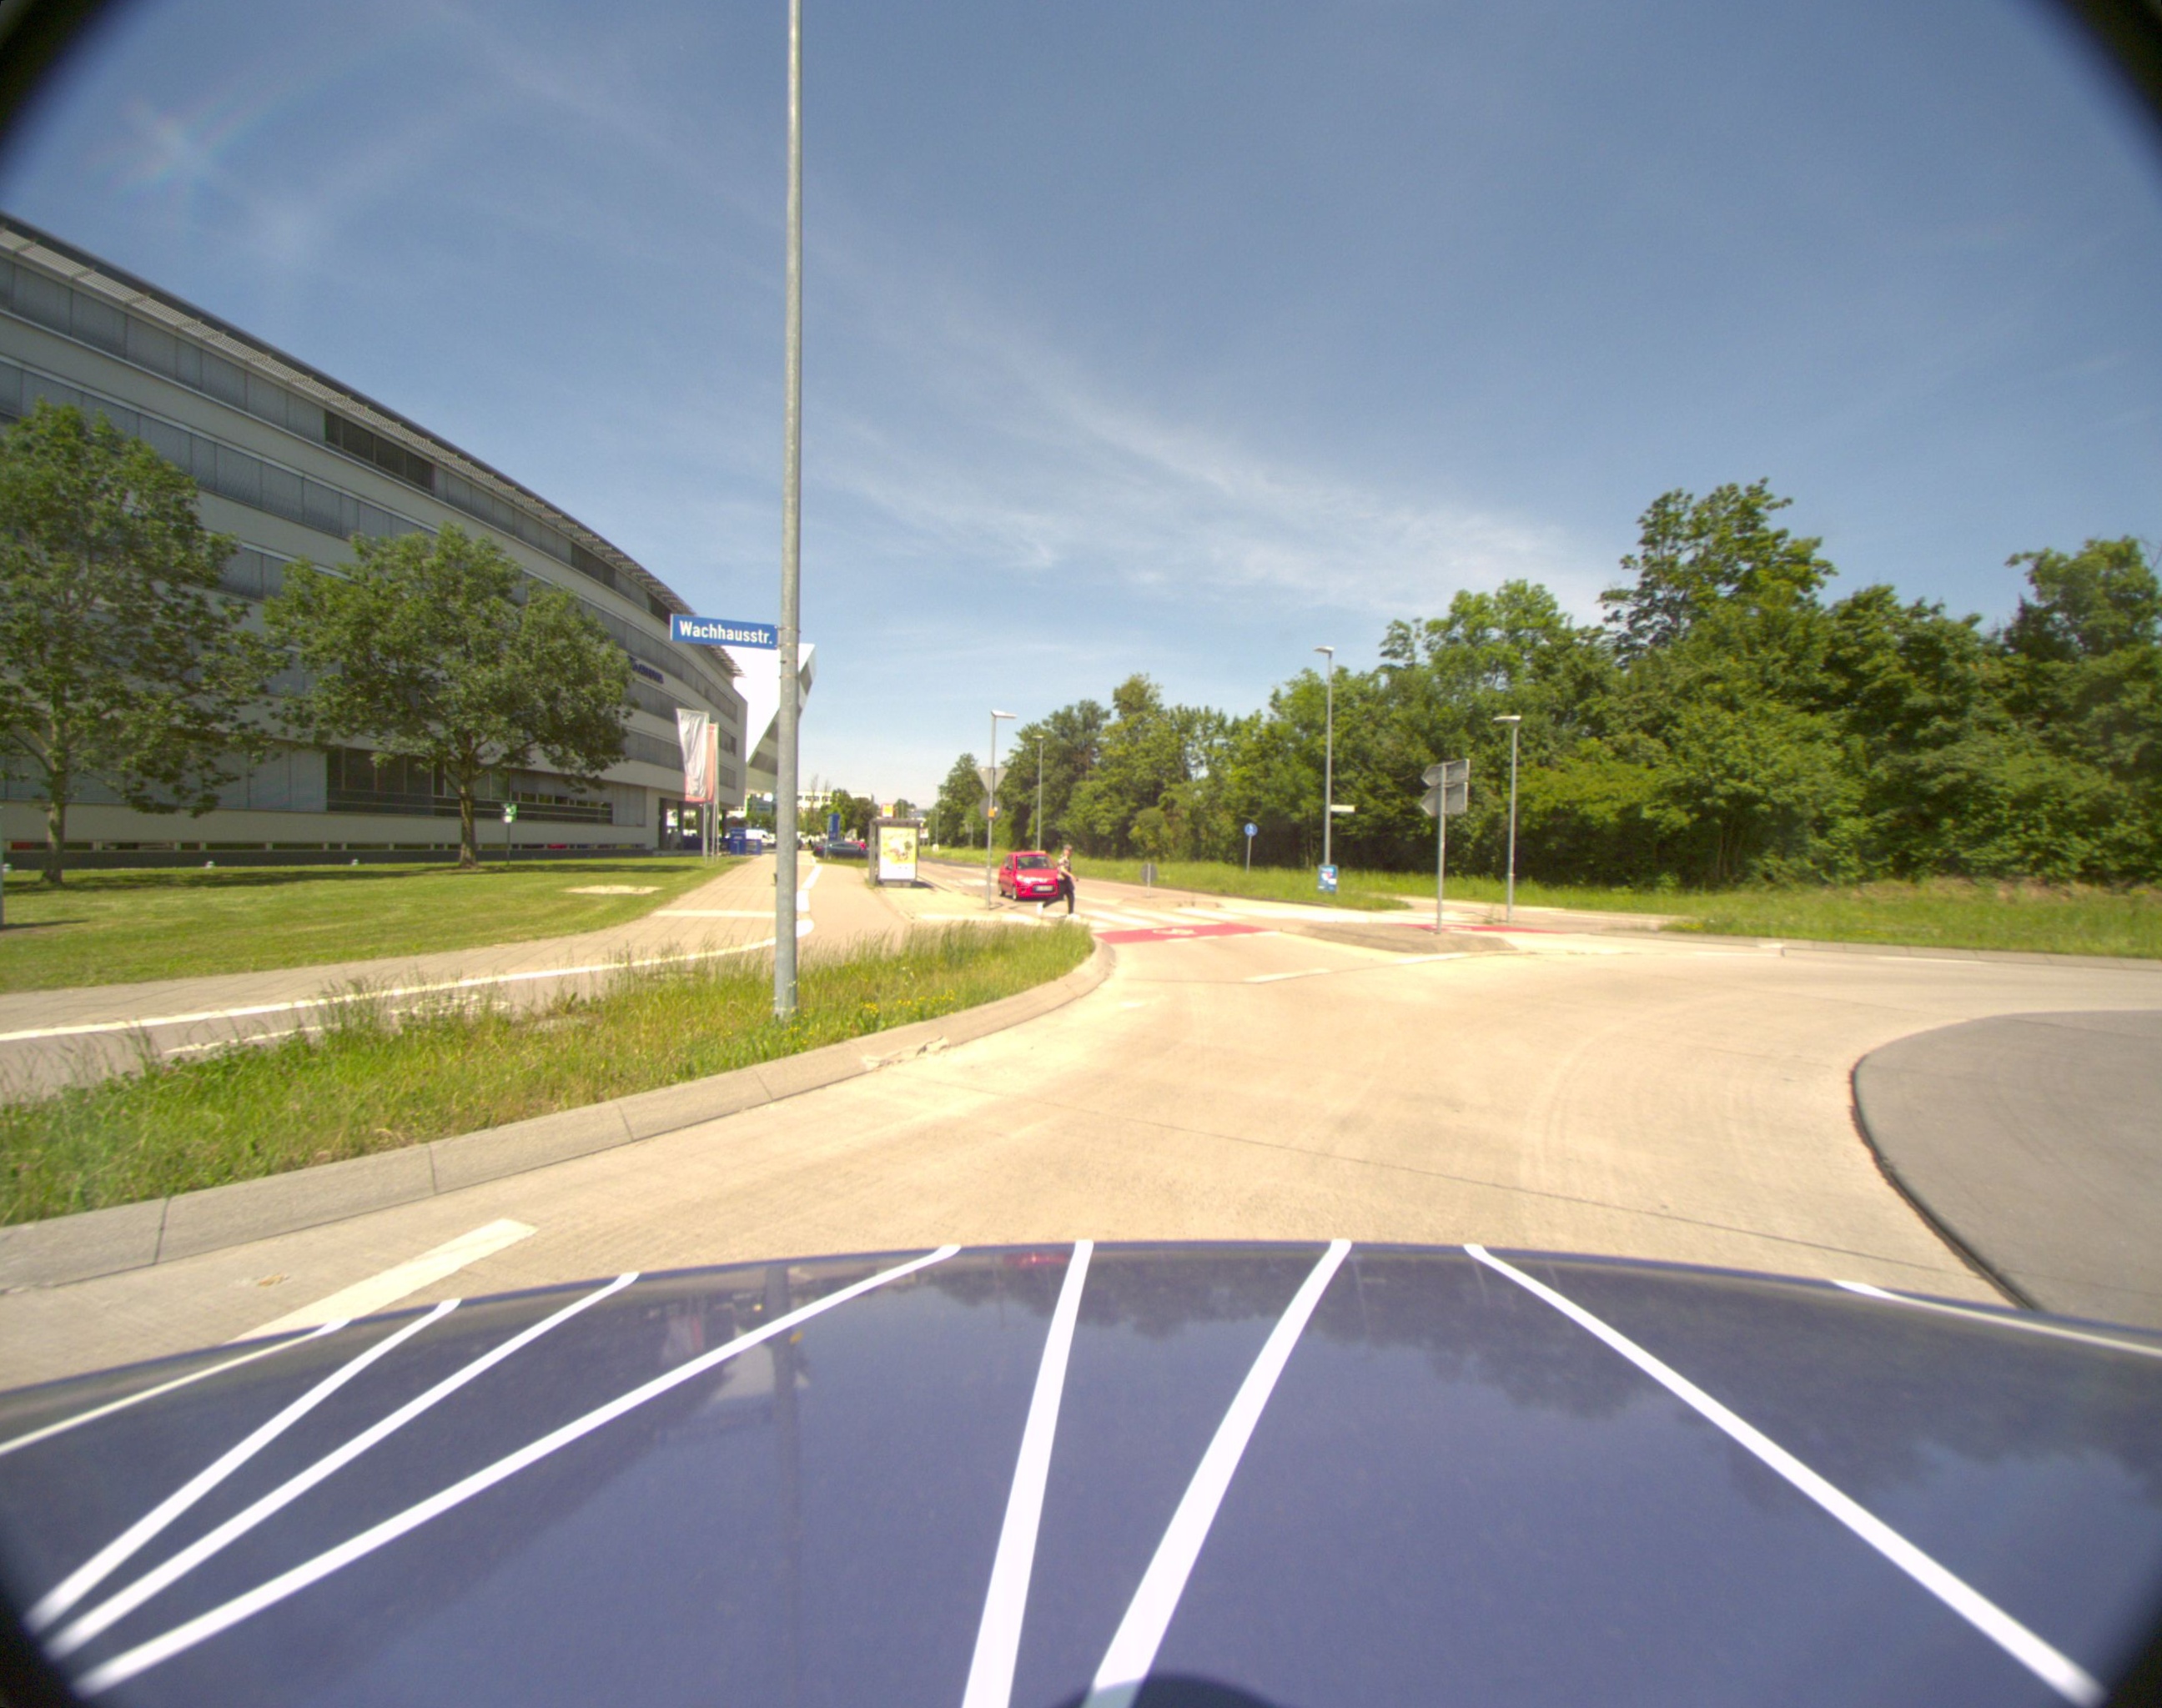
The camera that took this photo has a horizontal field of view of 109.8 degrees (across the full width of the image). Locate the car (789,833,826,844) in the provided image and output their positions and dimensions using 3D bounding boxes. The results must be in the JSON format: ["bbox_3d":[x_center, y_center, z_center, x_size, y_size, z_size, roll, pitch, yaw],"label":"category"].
[{"bbox_3d":[-53.231,-3.087,147.962,6.503,2.137,2.161,0,2,-13],"label":"car"}]

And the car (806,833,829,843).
[{"bbox_3d":[-53.360,-3.259,153.990,4.211,1.964,1.701,0,2,-13],"label":"car"}]

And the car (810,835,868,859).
[{"bbox_3d":[-17.934,-0.528,56.418,4.003,1.646,1.836,1,1,-17],"label":"car"}]

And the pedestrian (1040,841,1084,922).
[{"bbox_3d":[-0.450,0.623,17.742,0.711,1.812,0.825,3,1,-19],"label":"pedestrian"}]

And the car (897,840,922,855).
[{"bbox_3d":[-19.219,-0.682,85.210,2.002,1.586,4.314,2,-1,-22],"label":"car"}]

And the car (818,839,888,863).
[{"bbox_3d":[-16.255,-0.215,54.067,4.588,1.423,1.824,3,1,-21],"label":"car"}]

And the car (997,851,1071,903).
[{"bbox_3d":[-1.617,0.697,24.936,1.664,1.495,3.351,0,2,-17],"label":"car"}]

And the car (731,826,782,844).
[{"bbox_3d":[-50.999,-2.979,119.597,6.972,2.648,2.252,0,2,-11],"label":"car"}]
